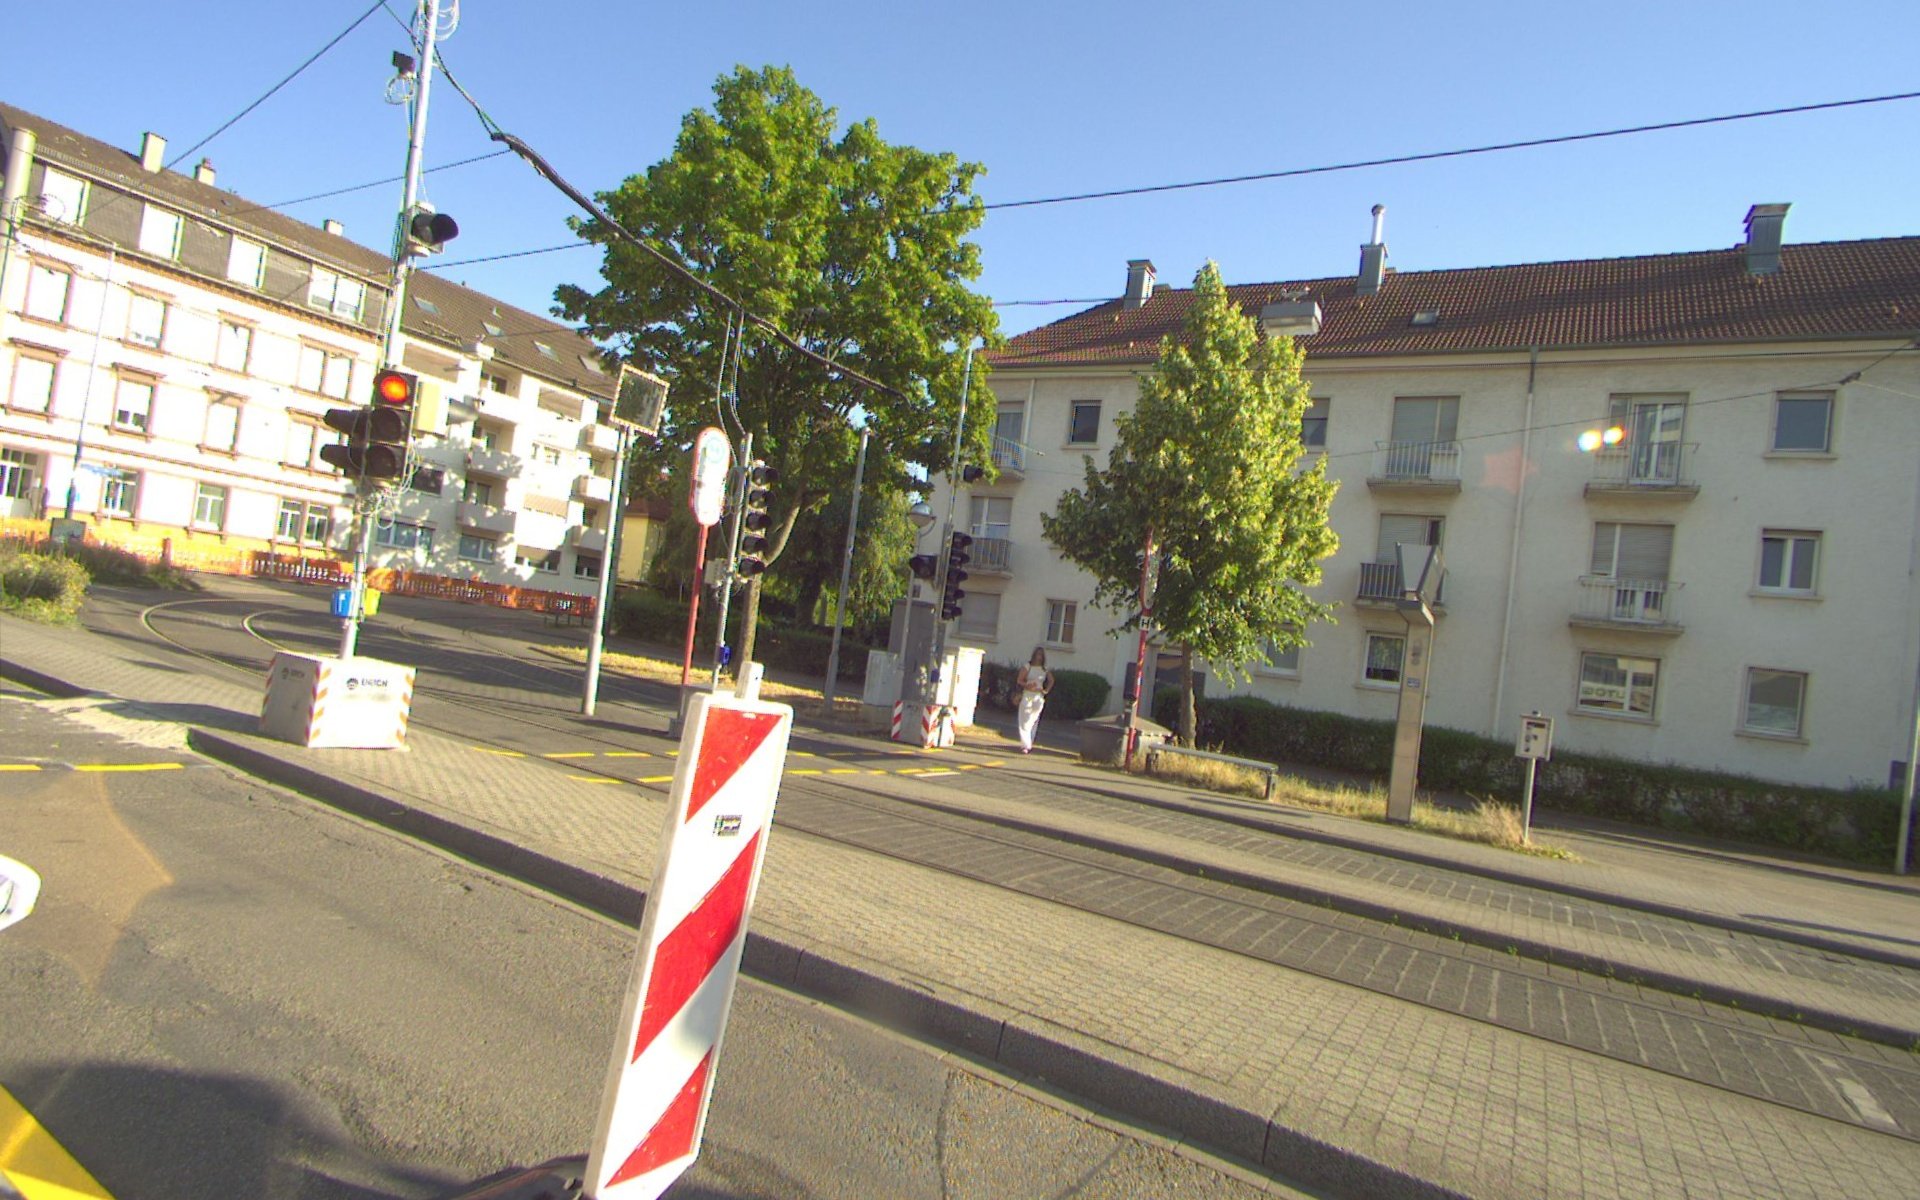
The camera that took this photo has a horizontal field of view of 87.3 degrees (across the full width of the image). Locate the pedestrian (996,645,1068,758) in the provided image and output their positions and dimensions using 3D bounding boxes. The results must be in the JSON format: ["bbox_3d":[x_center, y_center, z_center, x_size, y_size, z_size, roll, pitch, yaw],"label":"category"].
[{"bbox_3d":[1.156,1.592,15.912,0.811,1.639,0.792,7,-1,16],"label":"pedestrian"}]
